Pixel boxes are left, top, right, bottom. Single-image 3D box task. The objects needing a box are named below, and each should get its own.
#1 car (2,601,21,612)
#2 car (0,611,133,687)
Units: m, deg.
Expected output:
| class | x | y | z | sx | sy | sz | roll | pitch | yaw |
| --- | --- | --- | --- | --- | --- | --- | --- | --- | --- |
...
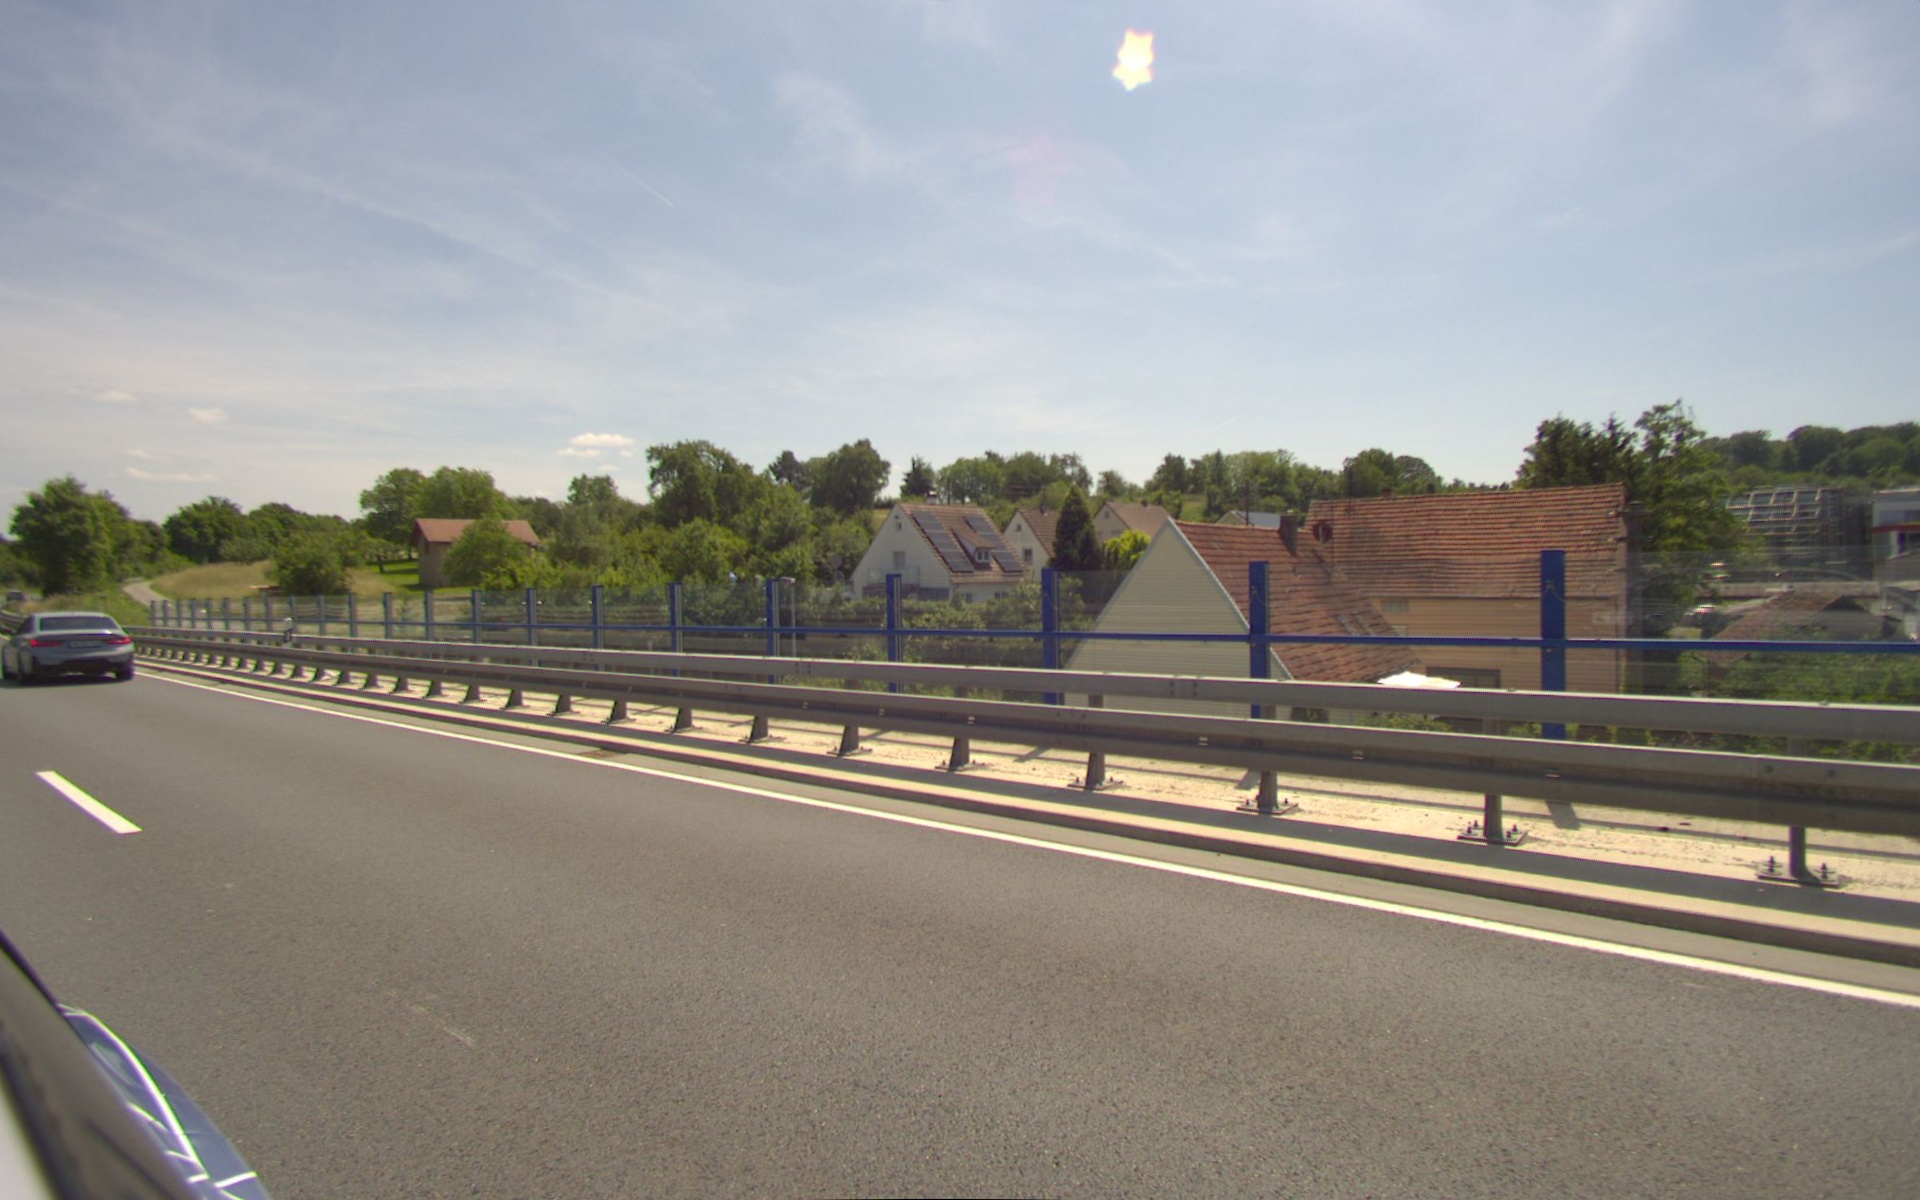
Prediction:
| class | x | y | z | sx | sy | sz | roll | pitch | yaw |
| --- | --- | --- | --- | --- | --- | --- | --- | --- | --- |
| car | -128.432 | 0.820 | 137.009 | 1.625 | 1.452 | 4.165 | 1 | -1 | -40 |
| car | -19.234 | 0.958 | 21.603 | 4.834 | 1.446 | 1.762 | -1 | -1 | 42 |
